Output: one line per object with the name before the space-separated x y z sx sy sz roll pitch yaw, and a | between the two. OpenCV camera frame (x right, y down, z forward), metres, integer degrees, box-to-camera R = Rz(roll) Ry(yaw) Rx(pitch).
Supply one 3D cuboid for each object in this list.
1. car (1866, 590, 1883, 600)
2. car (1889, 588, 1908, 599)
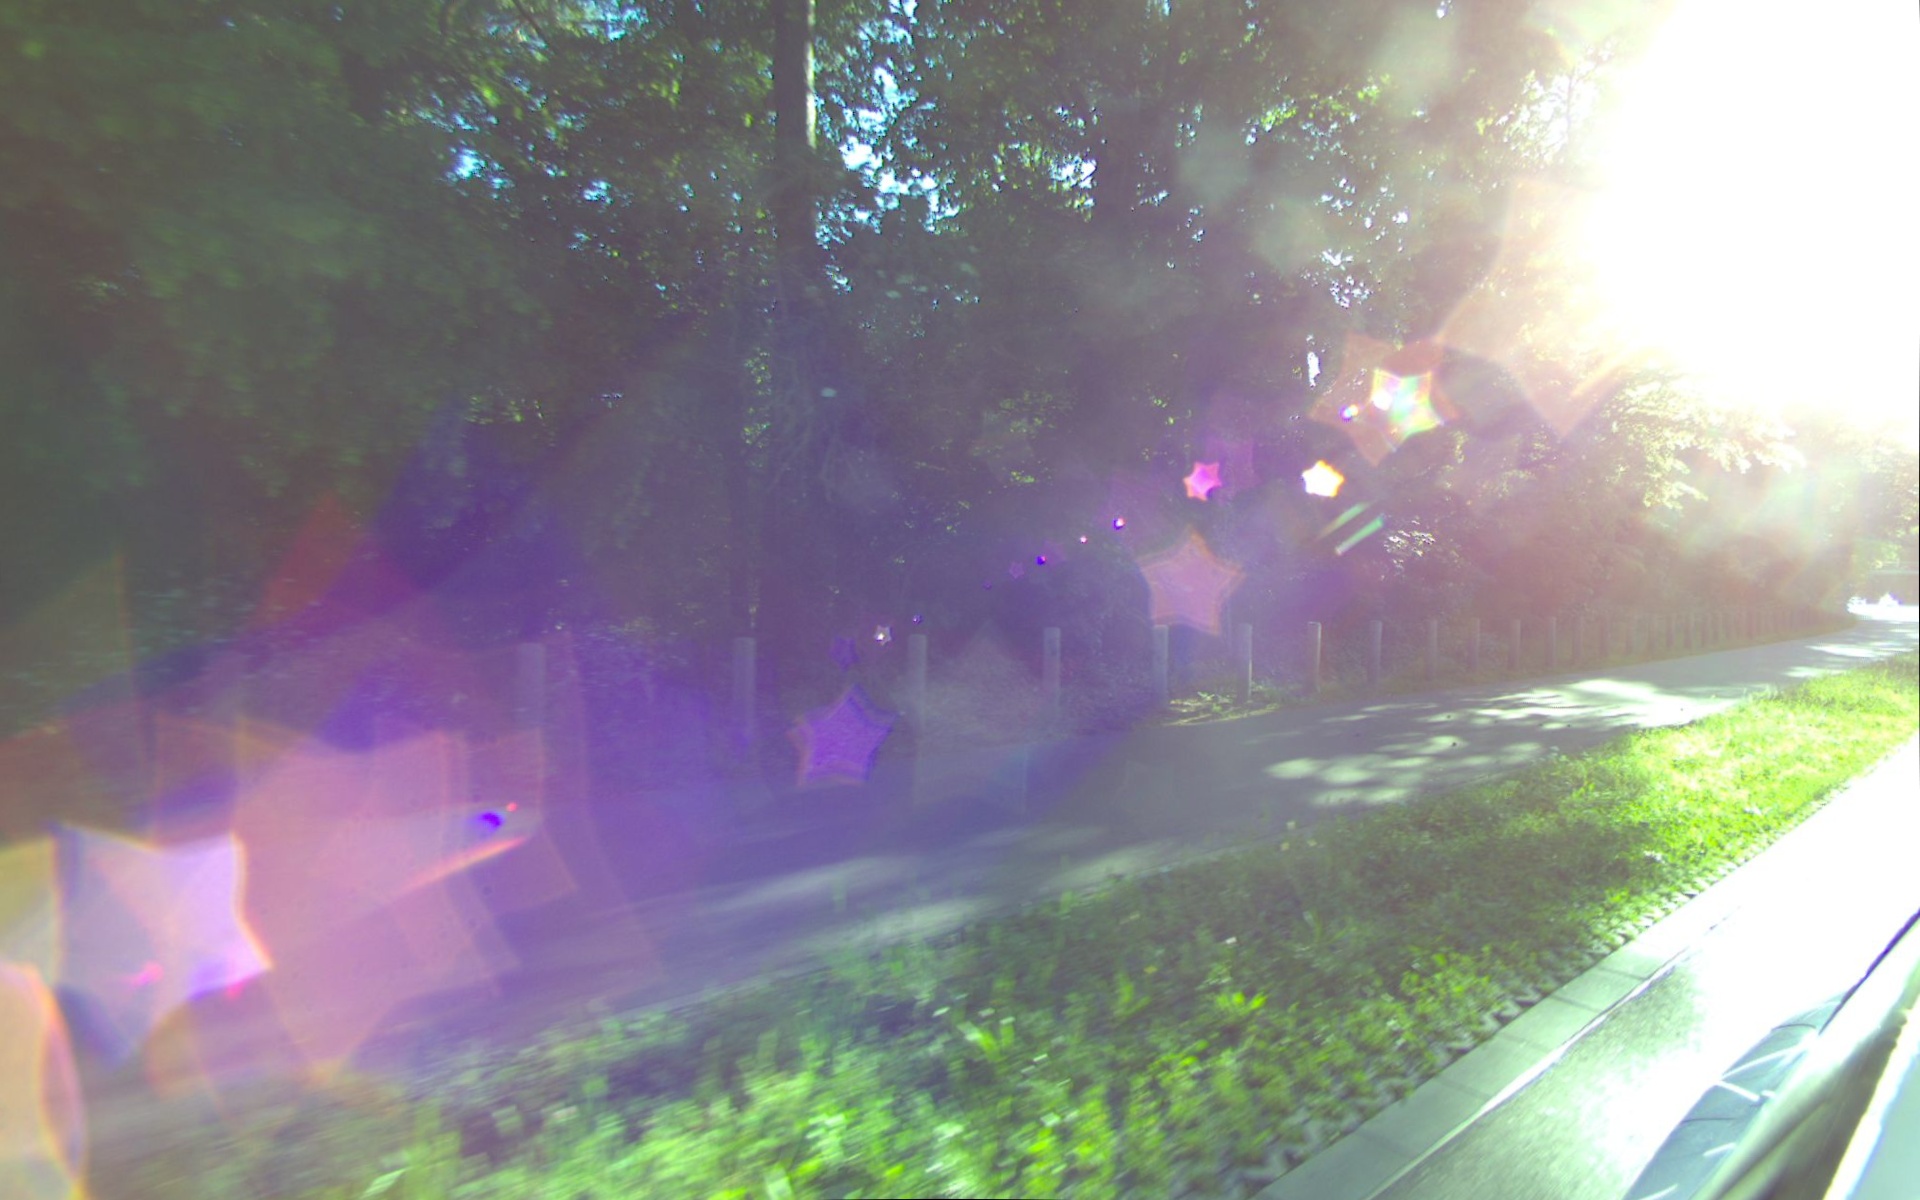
car | 172.661 -0.913 191.147 1.816 1.705 3.950 2 2 35
car | 153.321 -1.028 165.379 1.817 1.705 3.948 2 2 36
